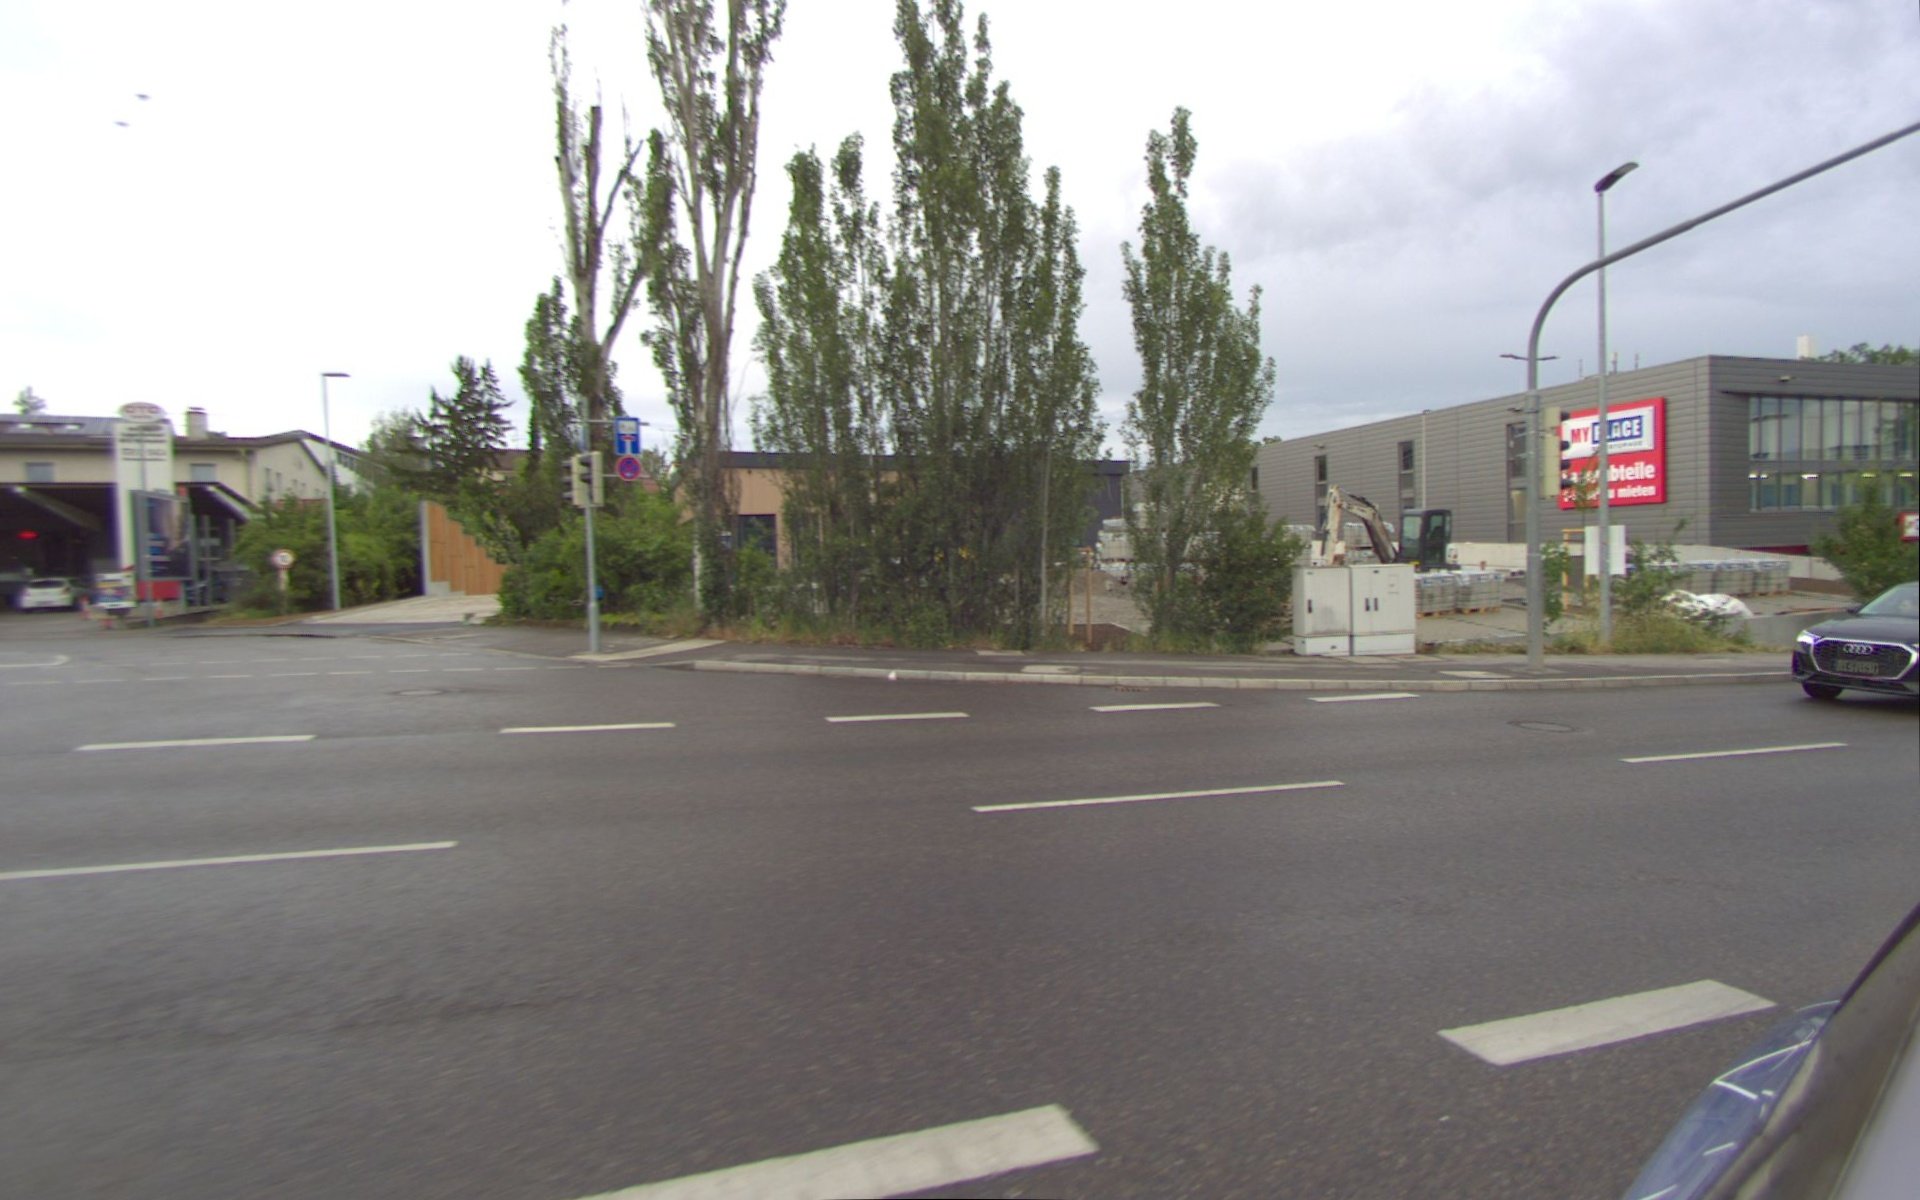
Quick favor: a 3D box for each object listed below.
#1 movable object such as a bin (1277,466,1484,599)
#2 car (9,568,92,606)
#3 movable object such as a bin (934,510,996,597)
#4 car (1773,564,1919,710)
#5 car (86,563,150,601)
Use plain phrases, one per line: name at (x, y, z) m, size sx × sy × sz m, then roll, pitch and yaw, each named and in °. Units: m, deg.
movable object such as a bin at (11.492, -1.744, 27.635) m, size 5.314 × 3.316 × 2.313 m, roll 0°, pitch 2°, yaw -28°
car at (-39.860, -0.598, 44.459) m, size 1.878 × 1.583 × 3.885 m, roll 0°, pitch 2°, yaw -29°
movable object such as a bin at (0.221, -1.528, 33.631) m, size 1.865 × 2.651 × 4.979 m, roll 1°, pitch 2°, yaw 2°
car at (12.984, 0.394, 12.603) m, size 5.490 × 1.563 × 1.826 m, roll 0°, pitch 3°, yaw -20°
car at (-37.445, -0.832, 45.090) m, size 1.487 × 1.583 × 3.885 m, roll 0°, pitch 2°, yaw -29°
